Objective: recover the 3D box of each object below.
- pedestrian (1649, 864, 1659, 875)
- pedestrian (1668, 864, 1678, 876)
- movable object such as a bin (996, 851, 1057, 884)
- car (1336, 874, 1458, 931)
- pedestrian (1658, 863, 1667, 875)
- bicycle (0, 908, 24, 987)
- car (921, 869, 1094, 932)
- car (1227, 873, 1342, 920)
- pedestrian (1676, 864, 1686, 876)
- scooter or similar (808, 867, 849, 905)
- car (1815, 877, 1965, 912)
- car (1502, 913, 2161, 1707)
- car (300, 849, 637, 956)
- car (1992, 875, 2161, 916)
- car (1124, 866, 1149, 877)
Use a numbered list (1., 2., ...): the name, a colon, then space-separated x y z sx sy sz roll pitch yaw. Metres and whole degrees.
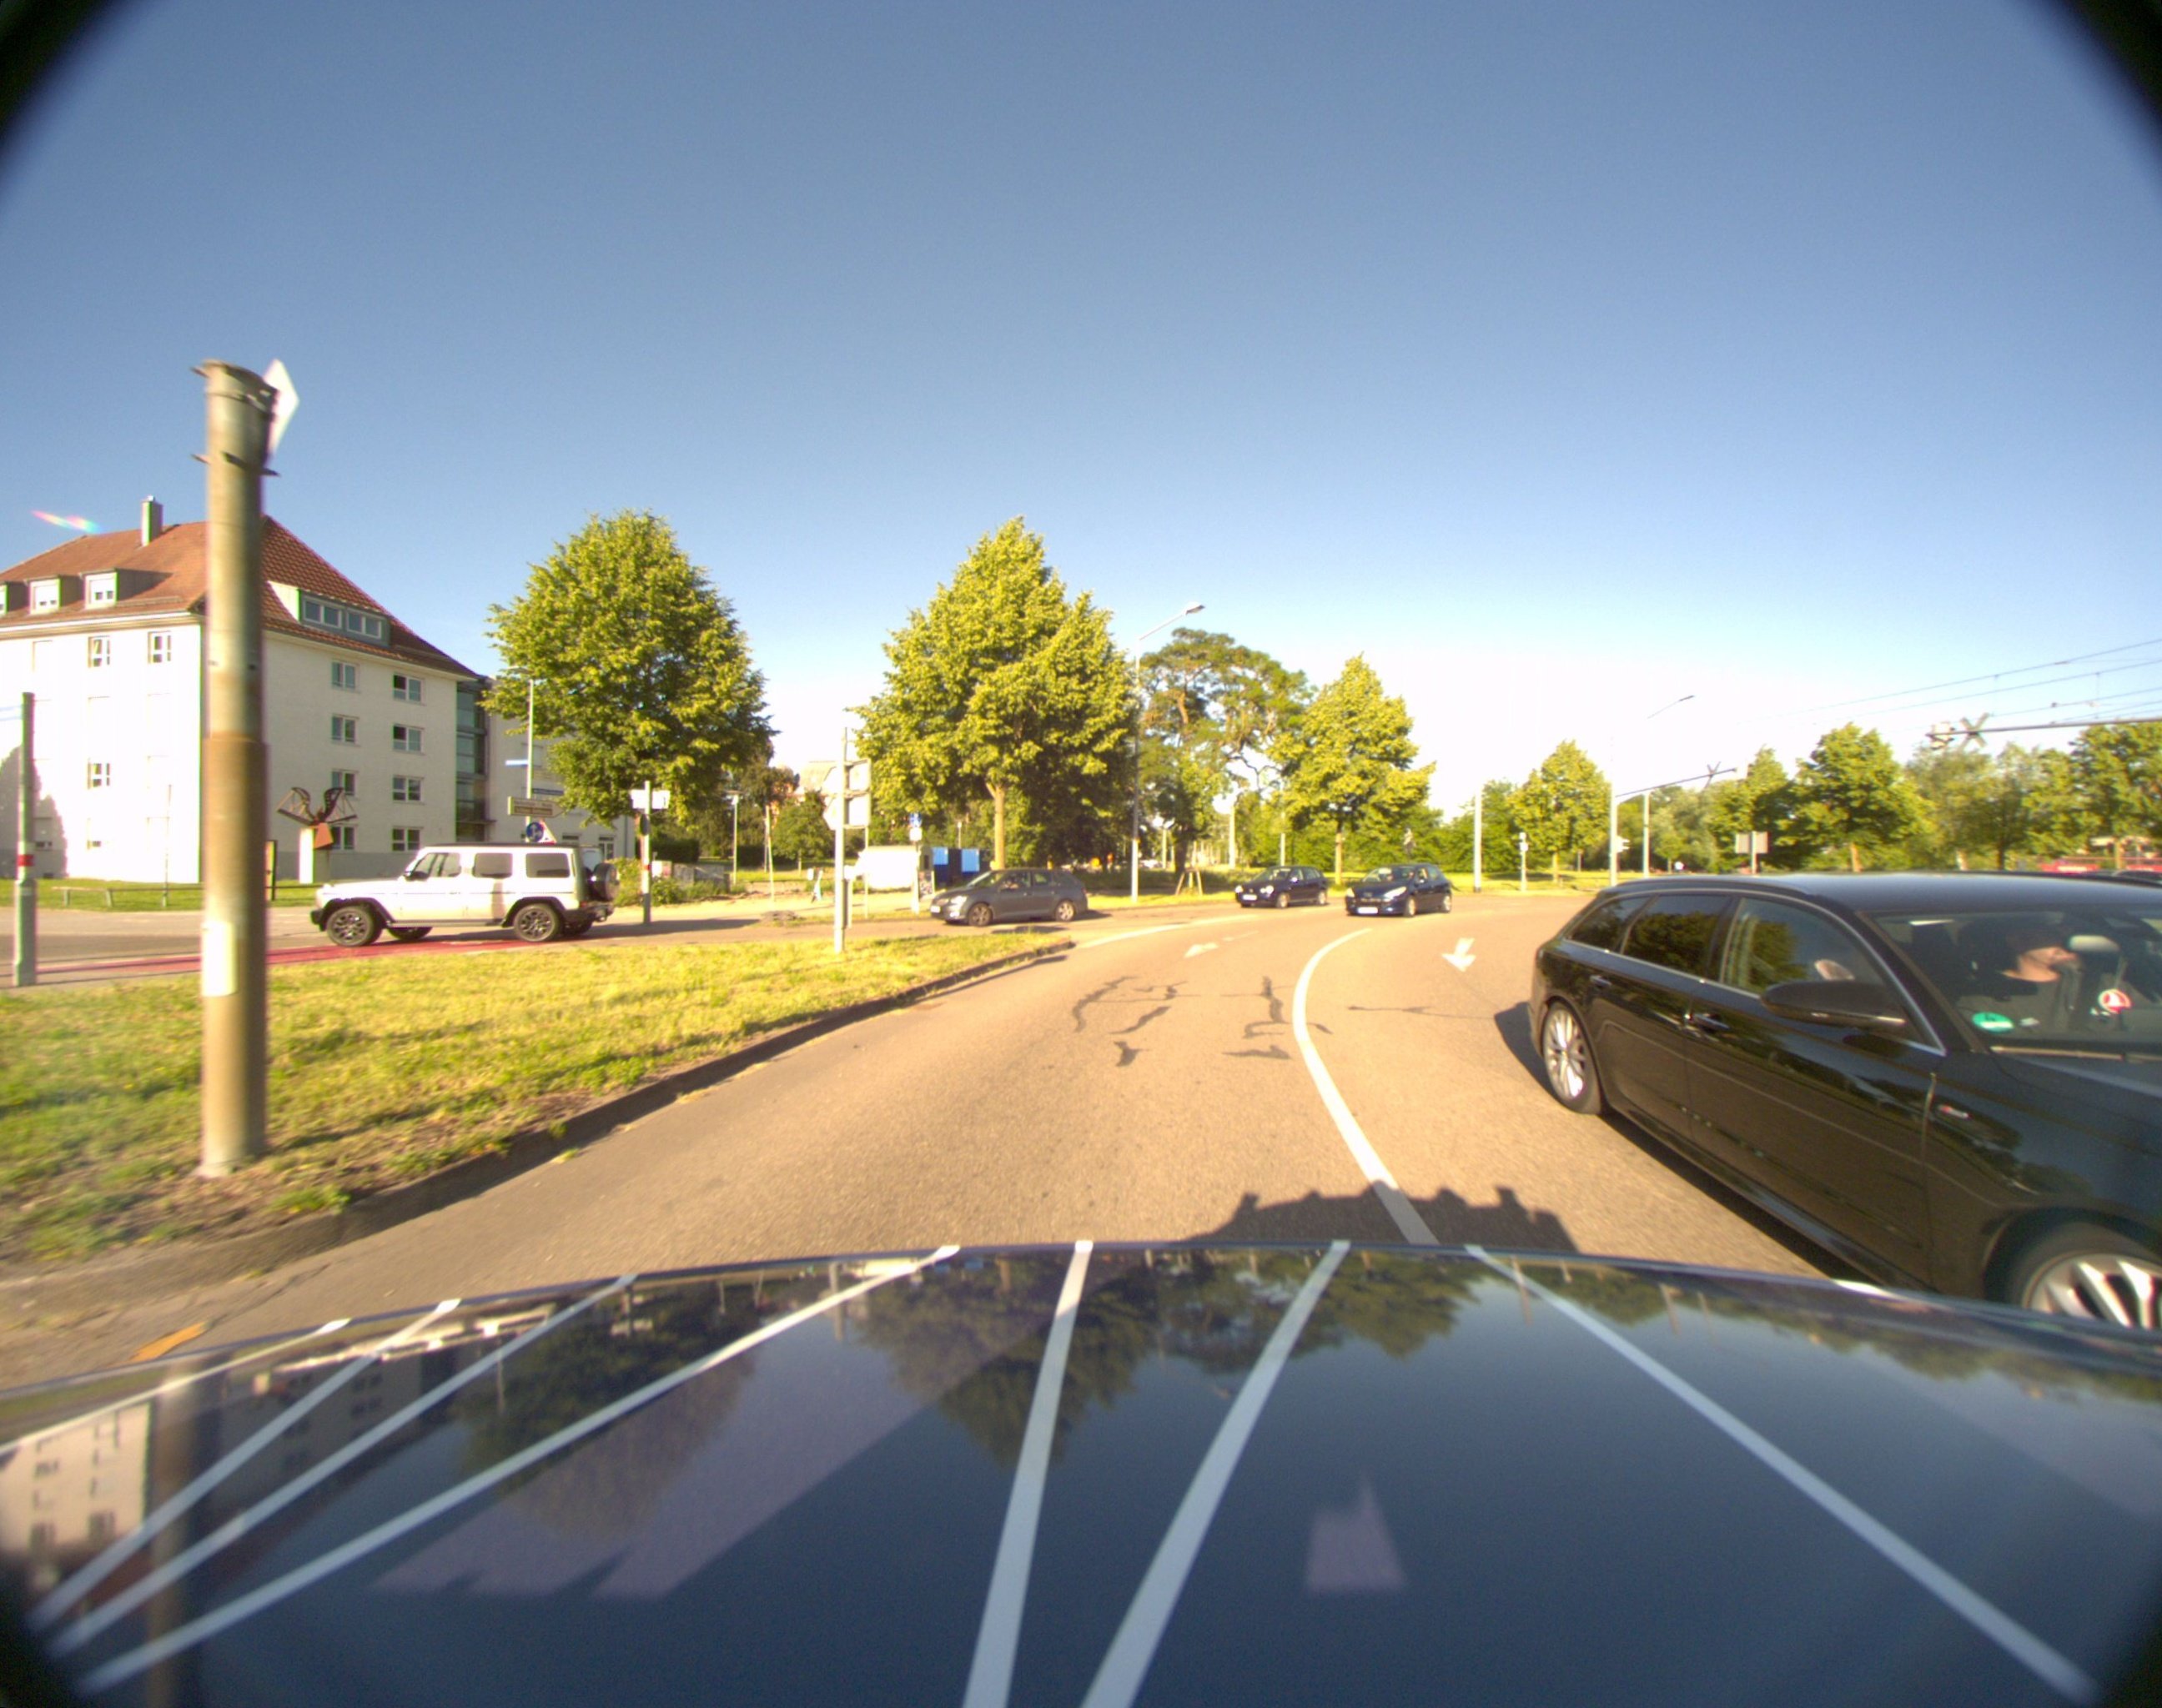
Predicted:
1. pedestrian: 71.007 1.902 94.120 0.796 1.432 0.685 1 0 -33
2. pedestrian: 72.086 1.918 92.533 0.796 1.432 0.772 1 0 -33
3. movable object such as a bin: -4.647 1.179 65.604 5.043 2.771 2.001 -1 -1 1
4. car: 9.160 1.327 21.888 4.009 1.445 1.753 1 -1 -44
5. pedestrian: 71.158 1.882 92.979 0.796 1.432 0.685 1 0 -33
6. bicycle: -14.640 1.211 9.322 0.659 1.021 1.827 -1 -1 18
7. car: -1.846 1.129 19.698 4.160 1.427 1.715 0 -1 -36
8. car: 7.250 1.431 26.816 4.555 1.459 1.633 0 -1 -41
9. pedestrian: 72.601 1.887 91.959 0.796 1.432 0.660 1 0 -33
10. scooter or similar: -8.503 1.074 25.630 0.443 1.240 1.267 -2 -1 35
11. car: 33.577 1.675 31.654 4.063 1.371 1.726 -1 -2 8
12. car: 3.404 1.099 2.855 1.795 1.434 5.023 -1 -1 12
13. car: -11.718 0.864 14.968 4.755 1.886 2.001 0 -1 -15
14. car: 36.467 1.491 27.352 4.530 1.371 1.939 -1 -2 9
15. car: 9.420 2.920 128.642 3.993 1.745 1.917 -1 -2 12
